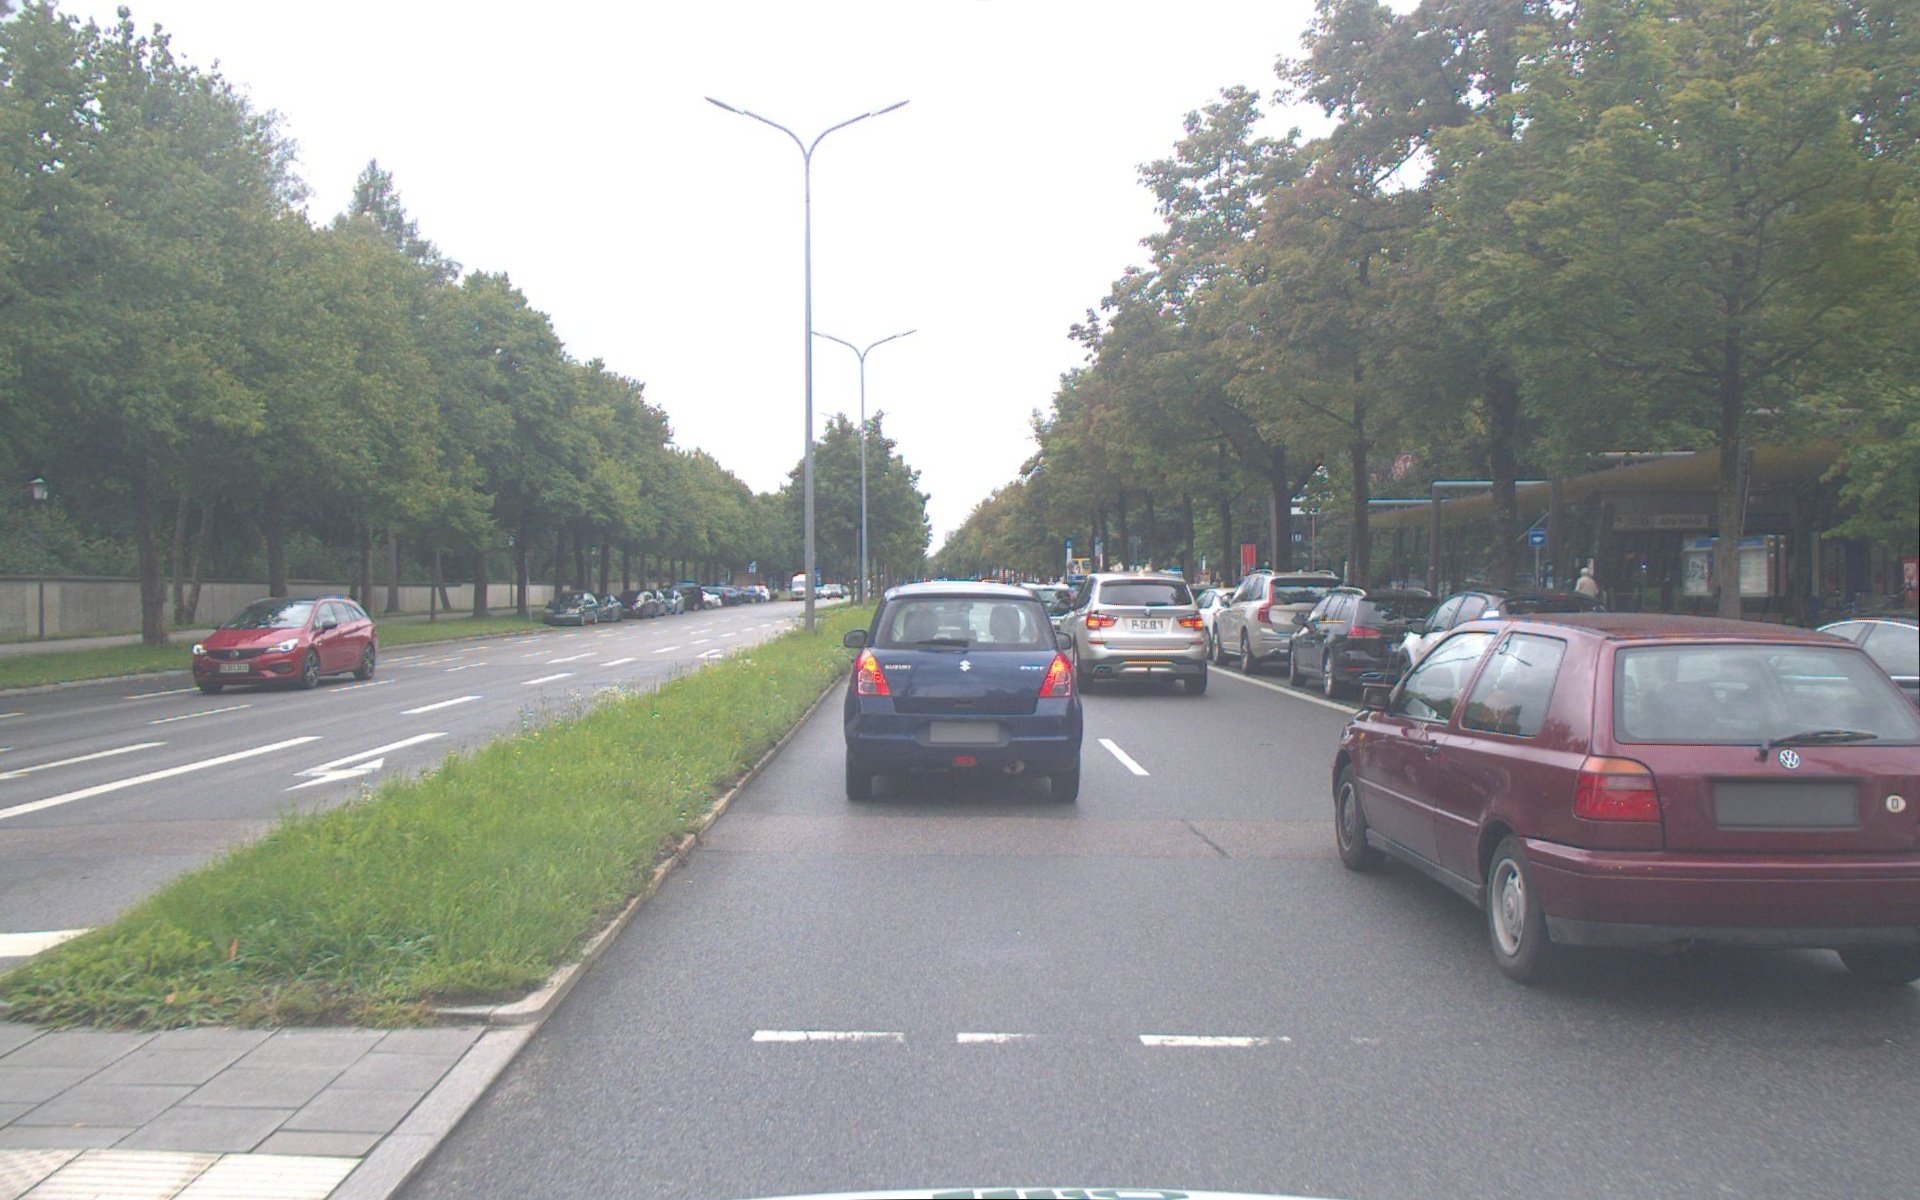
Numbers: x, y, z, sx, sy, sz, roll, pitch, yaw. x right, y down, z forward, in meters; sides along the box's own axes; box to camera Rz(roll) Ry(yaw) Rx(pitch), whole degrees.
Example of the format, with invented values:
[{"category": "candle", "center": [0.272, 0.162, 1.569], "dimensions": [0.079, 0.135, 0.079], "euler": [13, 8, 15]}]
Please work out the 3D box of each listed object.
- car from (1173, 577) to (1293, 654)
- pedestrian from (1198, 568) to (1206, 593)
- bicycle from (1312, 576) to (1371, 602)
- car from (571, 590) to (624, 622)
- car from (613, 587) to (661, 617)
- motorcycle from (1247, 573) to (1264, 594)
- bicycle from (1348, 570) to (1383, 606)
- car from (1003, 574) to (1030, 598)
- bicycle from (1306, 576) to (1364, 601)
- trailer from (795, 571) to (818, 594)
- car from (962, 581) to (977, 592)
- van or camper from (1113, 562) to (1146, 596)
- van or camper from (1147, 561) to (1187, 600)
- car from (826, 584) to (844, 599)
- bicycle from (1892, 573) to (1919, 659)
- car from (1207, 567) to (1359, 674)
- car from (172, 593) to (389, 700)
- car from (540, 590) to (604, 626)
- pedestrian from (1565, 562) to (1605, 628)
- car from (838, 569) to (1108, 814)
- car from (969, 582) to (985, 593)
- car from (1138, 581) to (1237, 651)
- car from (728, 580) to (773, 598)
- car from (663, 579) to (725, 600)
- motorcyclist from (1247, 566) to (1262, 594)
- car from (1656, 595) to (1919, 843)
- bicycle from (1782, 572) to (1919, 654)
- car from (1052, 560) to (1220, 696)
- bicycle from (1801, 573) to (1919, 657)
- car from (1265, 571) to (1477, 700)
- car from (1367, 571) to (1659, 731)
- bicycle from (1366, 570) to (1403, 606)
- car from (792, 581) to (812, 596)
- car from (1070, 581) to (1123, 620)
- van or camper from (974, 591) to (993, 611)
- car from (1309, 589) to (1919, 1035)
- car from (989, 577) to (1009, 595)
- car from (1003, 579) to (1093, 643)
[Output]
[{"category": "car", "center": [5.814, 0.276, 35.672], "dimensions": [1.668, 1.534, 4.502], "euler": [-1, 1, -2]}, {"category": "pedestrian", "center": [17.635, -1.440, 120.547], "dimensions": [0.563, 1.782, 0.732], "euler": [-1, 0, 3]}, {"category": "bicycle", "center": [17.005, -0.505, 73.764], "dimensions": [2.490, 1.108, 0.647], "euler": [-1, 0, -1]}, {"category": "car", "center": [-17.459, 0.276, 79.800], "dimensions": [1.625, 1.420, 4.706], "euler": [0, 1, -1]}, {"category": "car", "center": [-17.190, 0.064, 88.203], "dimensions": [1.538, 1.529, 4.305], "euler": [1, 1, 3]}, {"category": "motorcycle", "center": [19.722, -1.110, 110.425], "dimensions": [0.682, 1.312, 2.066], "euler": [-5, 1, -1]}, {"category": "bicycle", "center": [14.954, -0.441, 61.068], "dimensions": [0.632, 1.303, 2.550], "euler": [-1, 1, -1]}, {"category": "car", "center": [4.056, -1.000, 119.307], "dimensions": [1.728, 1.680, 4.423], "euler": [0, 1, -1]}, {"category": "bicycle", "center": [17.008, -0.525, 74.983], "dimensions": [2.490, 1.108, 0.647], "euler": [-1, 0, -1]}, {"category": "trailer", "center": [-17.494, -1.991, 188.938], "dimensions": [2.063, 2.584, 5.576], "euler": [-1, 1, -1]}, {"category": "car", "center": [1.349, -1.895, 227.775], "dimensions": [1.813, 1.472, 4.096], "euler": [-1, 1, -3]}, {"category": "van or camper", "center": [13.525, -1.692, 132.283], "dimensions": [1.983, 2.602, 5.956], "euler": [-1, 1, -1]}, {"category": "van or camper", "center": [14.461, -1.388, 115.815], "dimensions": [1.953, 2.602, 5.956], "euler": [-1, 1, -1]}, {"category": "car", "center": [-13.843, -0.938, 182.923], "dimensions": [1.875, 1.569, 4.186], "euler": [-1, 1, -3]}, {"category": "bicycle", "center": [14.377, 0.164, 23.198], "dimensions": [2.291, 1.177, 0.529], "euler": [-3, 1, -2]}, {"category": "car", "center": [5.688, 0.289, 29.698], "dimensions": [1.712, 1.754, 4.906], "euler": [0, 1, -1]}, {"category": "car", "center": [-11.178, 0.699, 27.576], "dimensions": [1.708, 1.477, 4.657], "euler": [-3, 1, -1]}, {"category": "car", "center": [-17.283, 0.337, 73.909], "dimensions": [1.763, 1.516, 4.914], "euler": [0, 1, -1]}, {"category": "pedestrian", "center": [14.650, -0.126, 38.778], "dimensions": [0.570, 1.539, 0.690], "euler": [-1, 1, -19]}, {"category": "car", "center": [0.001, 0.572, 12.855], "dimensions": [1.753, 1.583, 3.998], "euler": [-1, 1, -3]}, {"category": "car", "center": [2.166, -1.606, 213.947], "dimensions": [1.813, 1.472, 4.096], "euler": [-1, 1, -3]}, {"category": "car", "center": [5.486, 0.342, 40.326], "dimensions": [1.685, 1.561, 4.398], "euler": [1, 1, -1]}, {"category": "car", "center": [-20.491, -1.075, 161.828], "dimensions": [4.060, 1.612, 1.896], "euler": [-2, 1, -35]}, {"category": "car", "center": [-19.018, -0.762, 118.324], "dimensions": [3.956, 1.377, 1.827], "euler": [-1, 1, -36]}, {"category": "motorcyclist", "center": [19.710, -1.345, 110.686], "dimensions": [0.677, 1.767, 0.953], "euler": [-5, 1, -1]}, {"category": "car", "center": [6.260, 0.686, 10.339], "dimensions": [1.676, 1.384, 4.619], "euler": [0, 1, -3]}, {"category": "bicycle", "center": [14.511, 0.203, 26.611], "dimensions": [2.291, 1.177, 0.529], "euler": [-3, 1, -2]}, {"category": "car", "center": [2.450, 0.341, 23.980], "dimensions": [1.813, 1.773, 4.096], "euler": [-1, 1, -3]}, {"category": "bicycle", "center": [14.295, 0.214, 25.692], "dimensions": [2.296, 1.177, 0.528], "euler": [-3, 1, -10]}, {"category": "car", "center": [5.722, 0.418, 23.599], "dimensions": [1.712, 1.574, 4.641], "euler": [-2, 1, -2]}, {"category": "car", "center": [6.045, 0.478, 18.634], "dimensions": [1.678, 1.574, 4.380], "euler": [-1, 1, -2]}, {"category": "bicycle", "center": [15.659, -0.451, 61.058], "dimensions": [0.632, 1.303, 2.550], "euler": [-1, 1, -1]}, {"category": "car", "center": [-17.161, -1.206, 179.543], "dimensions": [1.875, 1.569, 4.186], "euler": [-1, 1, -3]}, {"category": "car", "center": [5.443, -0.009, 66.293], "dimensions": [1.600, 1.464, 4.303], "euler": [-1, 1, -2]}, {"category": "van or camper", "center": [2.502, 0.093, 175.561], "dimensions": [1.905, 2.009, 4.306], "euler": [-1, 1, 0]}, {"category": "car", "center": [2.878, 0.713, 7.653], "dimensions": [1.589, 1.479, 3.949], "euler": [-1, 1, -2]}, {"category": "car", "center": [3.519, -1.285, 147.990], "dimensions": [1.650, 1.552, 4.455], "euler": [1, 1, 0]}, {"category": "car", "center": [2.123, 0.225, 40.918], "dimensions": [1.813, 1.472, 4.096], "euler": [-1, 1, -3]}]
